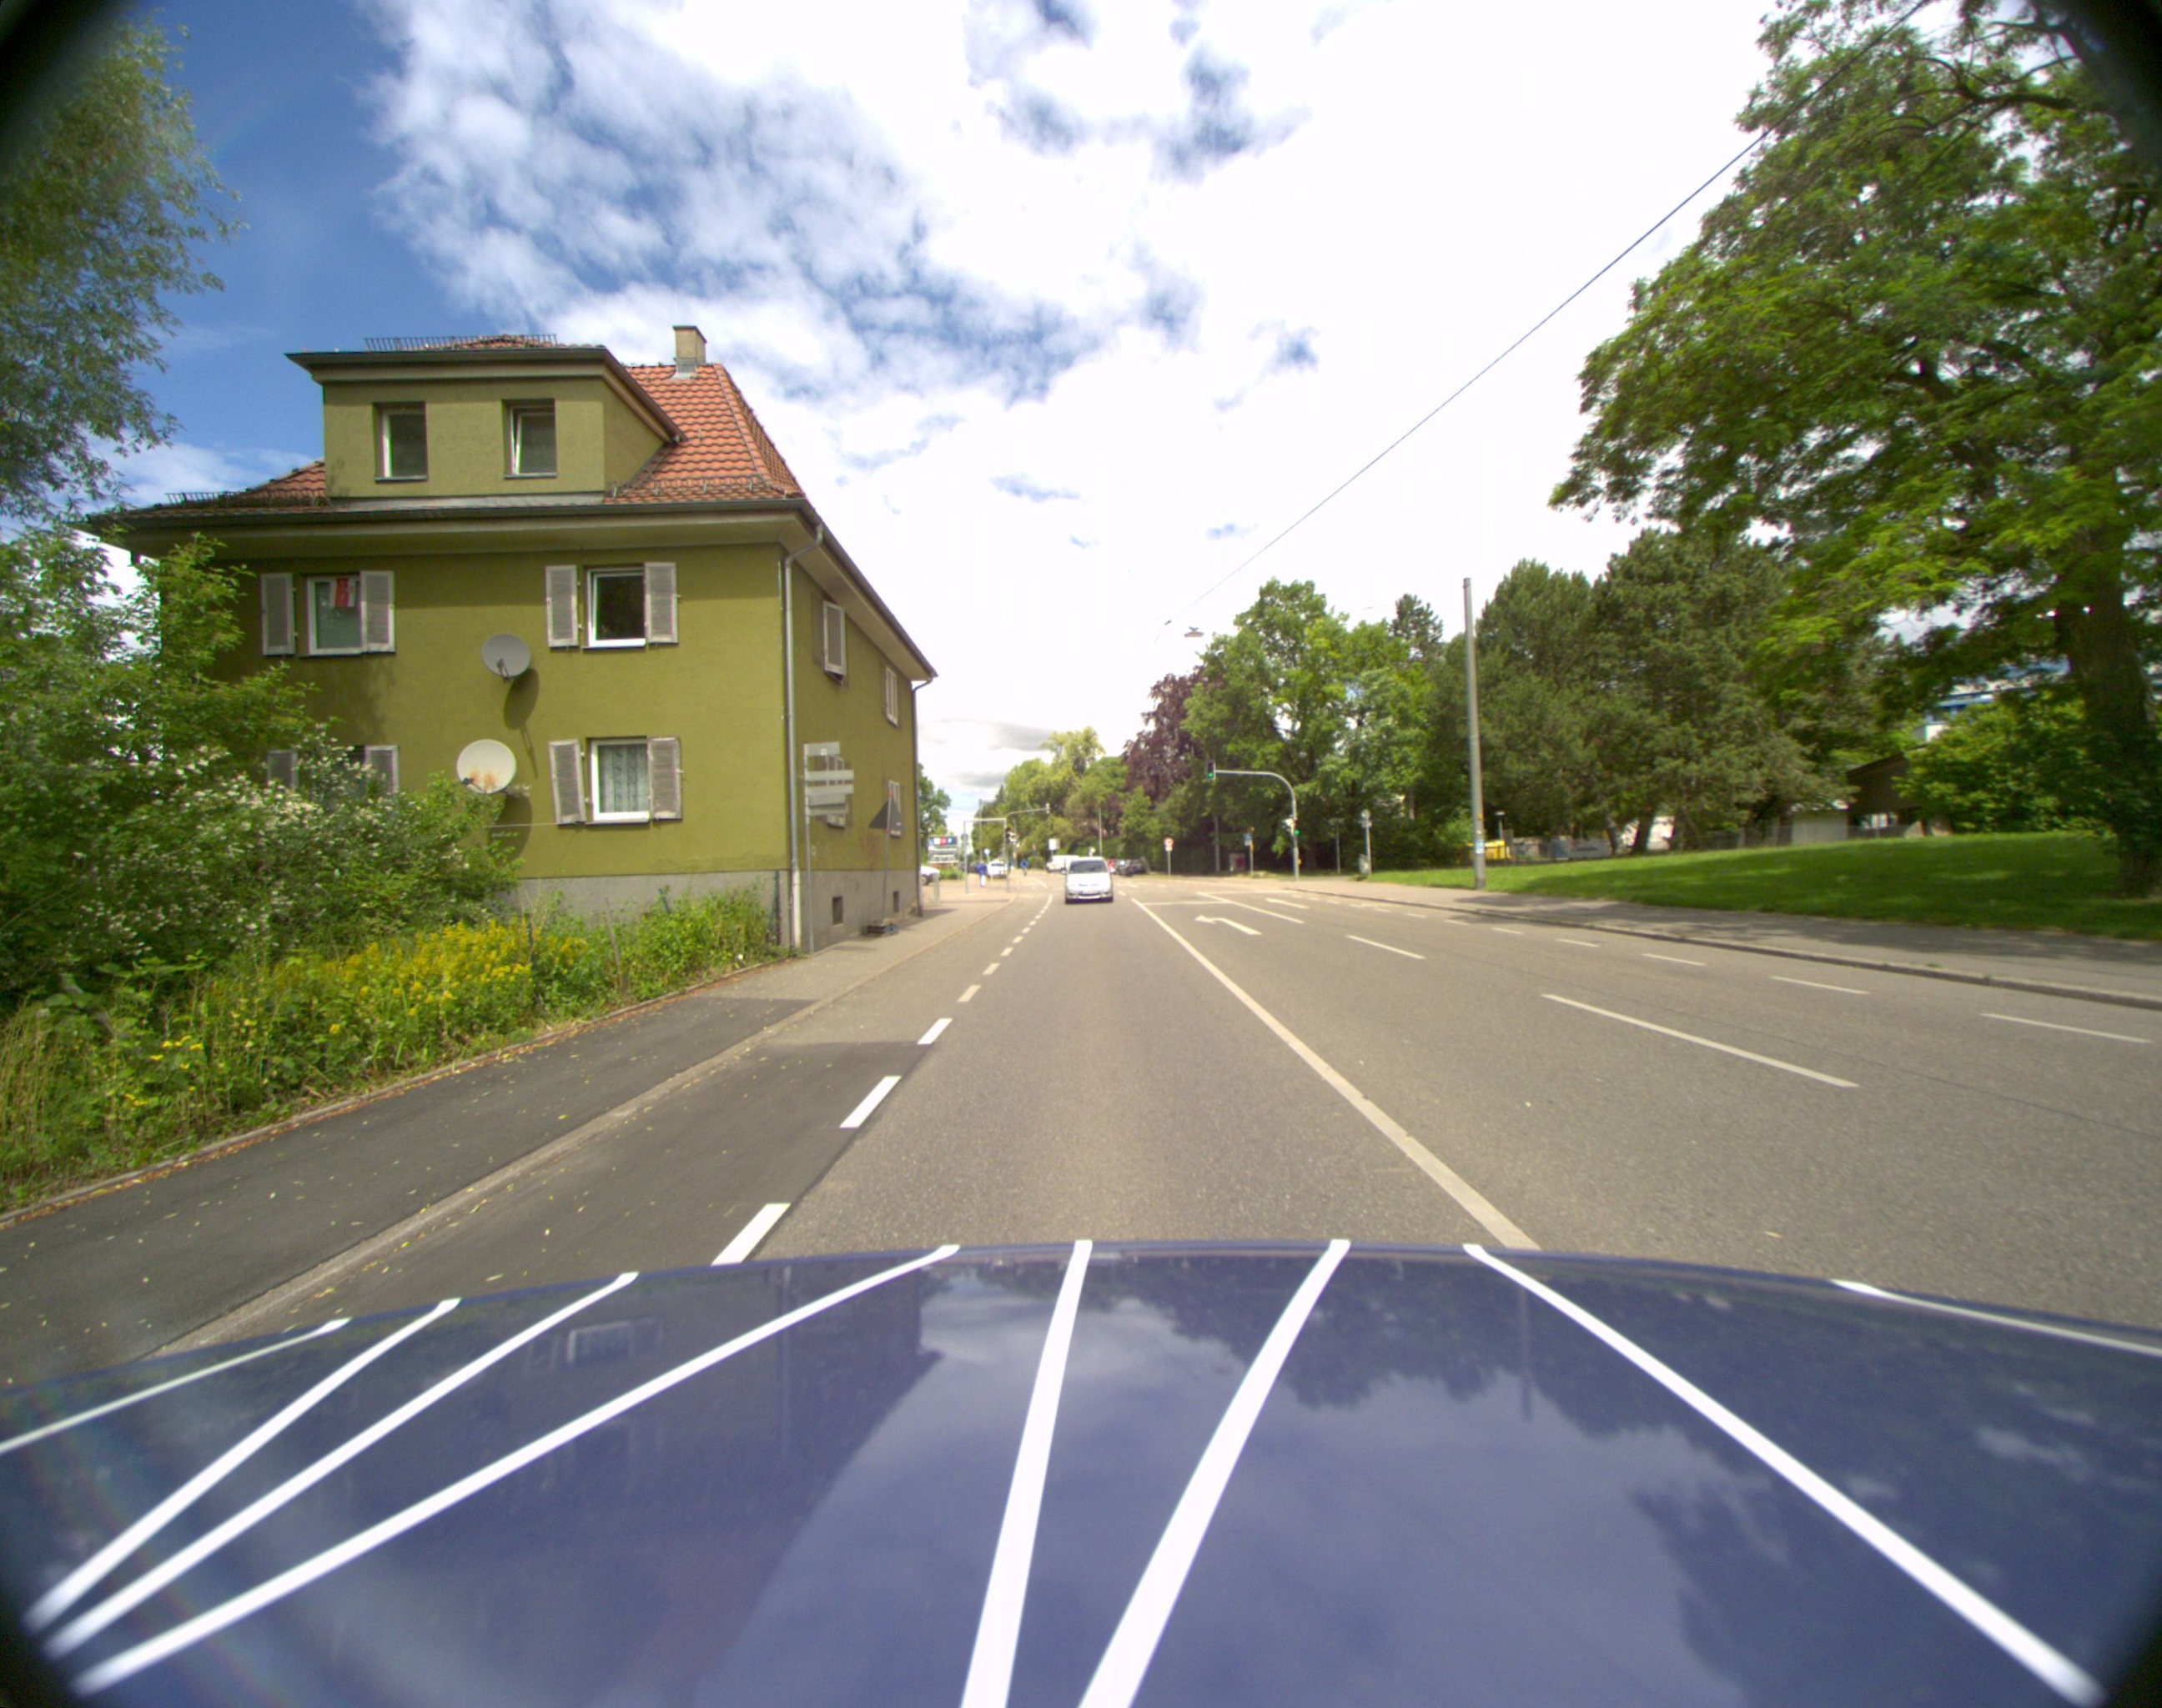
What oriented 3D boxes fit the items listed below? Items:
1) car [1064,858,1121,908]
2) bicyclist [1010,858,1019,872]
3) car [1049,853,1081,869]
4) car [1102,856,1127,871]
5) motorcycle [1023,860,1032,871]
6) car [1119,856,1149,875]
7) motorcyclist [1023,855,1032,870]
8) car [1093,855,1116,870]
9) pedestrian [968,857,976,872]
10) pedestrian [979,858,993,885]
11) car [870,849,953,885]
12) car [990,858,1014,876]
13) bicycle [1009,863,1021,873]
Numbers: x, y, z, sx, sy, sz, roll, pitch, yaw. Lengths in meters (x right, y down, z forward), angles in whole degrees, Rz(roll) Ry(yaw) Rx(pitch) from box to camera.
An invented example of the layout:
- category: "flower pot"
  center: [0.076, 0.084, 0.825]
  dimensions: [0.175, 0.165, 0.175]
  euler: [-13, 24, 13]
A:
- category: "car"
  center: [0.395, 0.940, 26.570]
  dimensions: [1.780, 1.519, 4.000]
  euler: [-2, 0, 0]
- category: "bicyclist"
  center: [-8.101, 1.353, 92.704]
  dimensions: [0.808, 1.599, 0.770]
  euler: [-4, 1, -24]
- category: "car"
  center: [-1.789, 0.749, 85.137]
  dimensions: [1.802, 1.787, 4.493]
  euler: [-1, 1, -27]
- category: "car"
  center: [3.344, 0.941, 77.207]
  dimensions: [1.900, 1.501, 3.997]
  euler: [0, 1, -7]
- category: "motorcycle"
  center: [-5.556, 1.188, 79.182]
  dimensions: [0.837, 1.101, 1.800]
  euler: [0, 0, -1]
- category: "car"
  center: [4.682, 0.998, 67.526]
  dimensions: [1.900, 1.501, 3.997]
  euler: [0, 1, -7]
- category: "motorcyclist"
  center: [-5.569, 0.899, 79.170]
  dimensions: [0.837, 1.547, 0.650]
  euler: [0, 1, -1]
- category: "car"
  center: [2.467, 0.918, 82.191]
  dimensions: [1.900, 1.501, 3.997]
  euler: [0, 1, -7]
- category: "pedestrian"
  center: [-12.011, 1.131, 83.491]
  dimensions: [0.723, 1.651, 0.777]
  euler: [-4, 1, -4]
- category: "pedestrian"
  center: [-5.637, 1.042, 45.104]
  dimensions: [0.729, 1.543, 1.056]
  euler: [-2, 0, -10]
- category: "car"
  center: [-10.055, 0.773, 45.213]
  dimensions: [4.364, 1.983, 2.001]
  euler: [-1, 1, 9]
- category: "car"
  center: [-7.116, 1.141, 69.033]
  dimensions: [1.799, 1.501, 3.999]
  euler: [0, 0, -1]
- category: "bicycle"
  center: [-8.086, 1.687, 92.733]
  dimensions: [0.815, 1.101, 1.797]
  euler: [-4, 0, -24]
